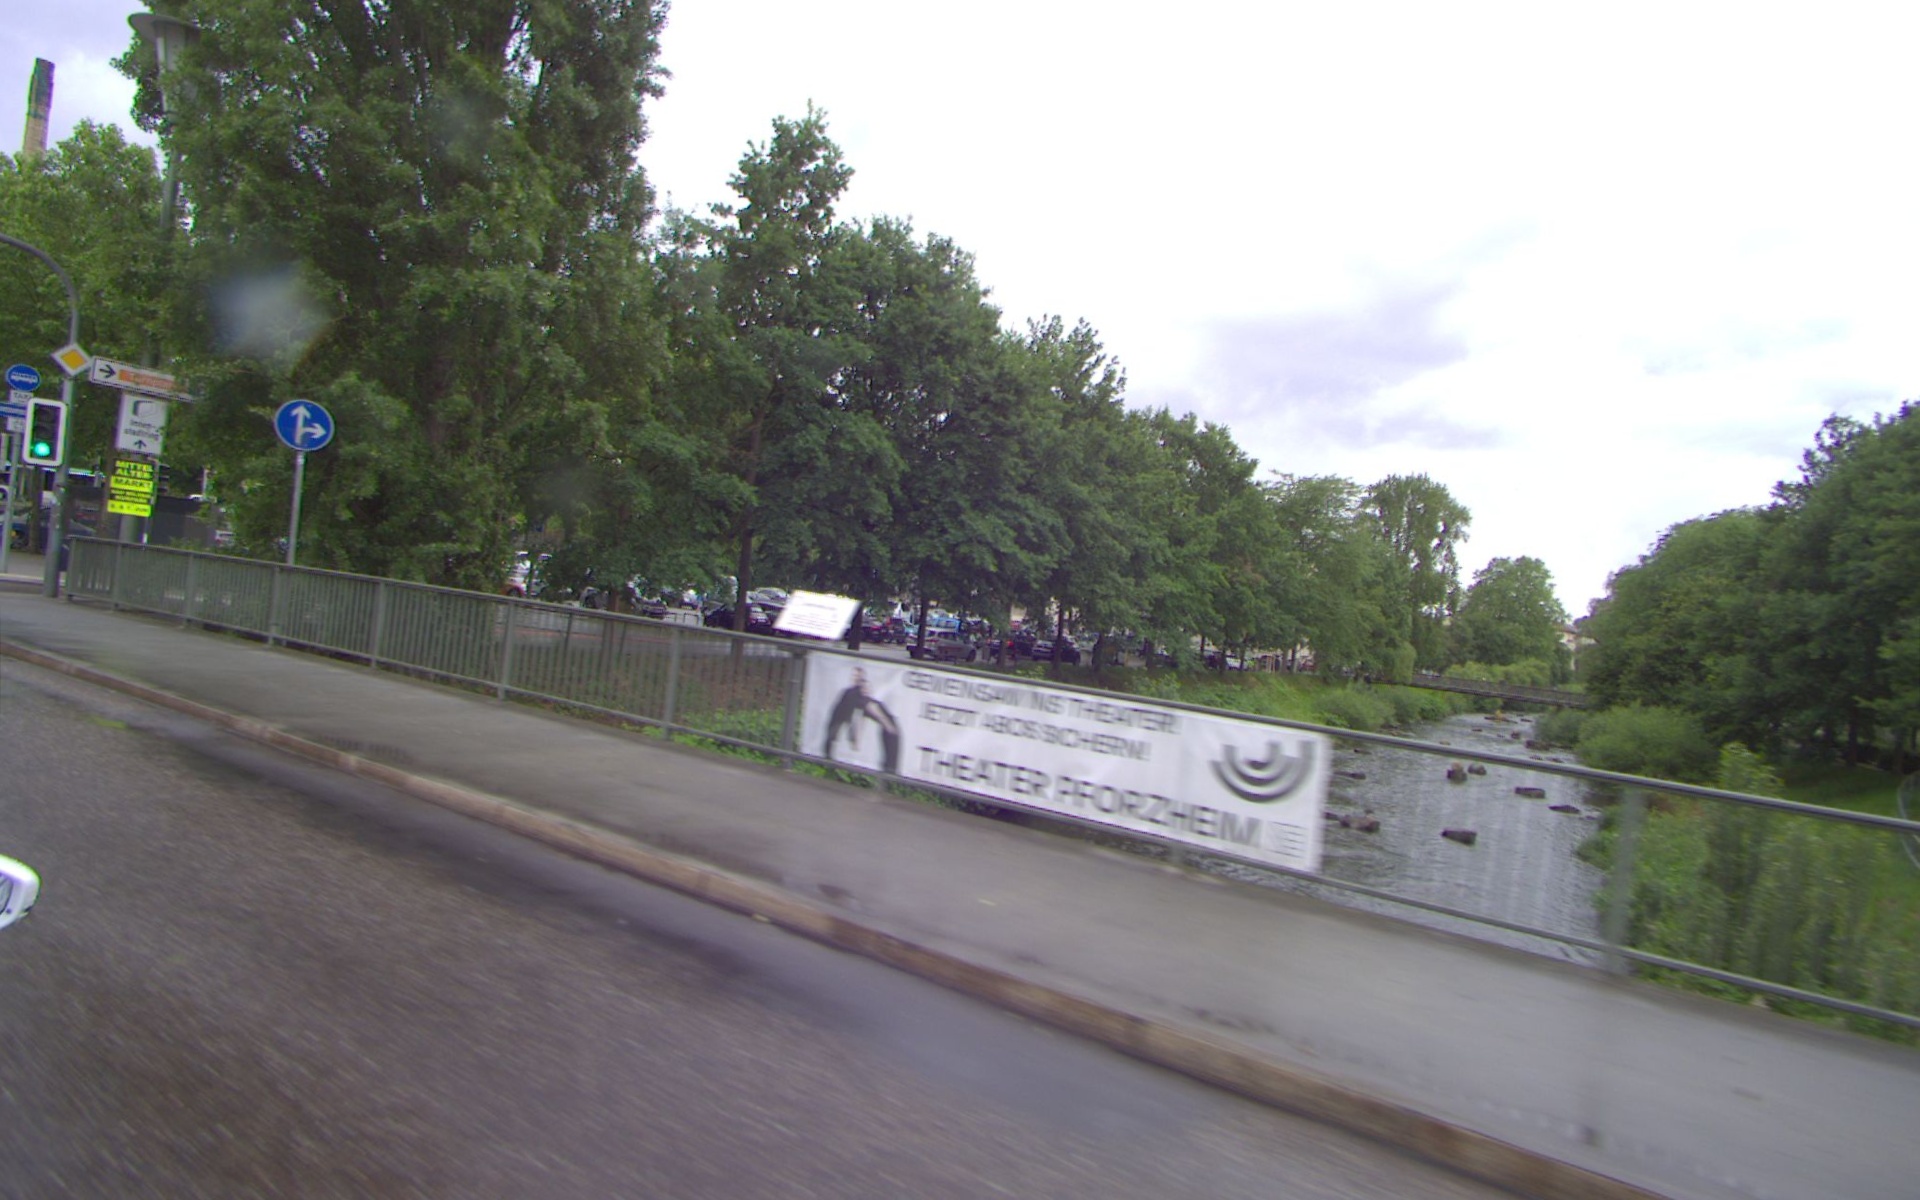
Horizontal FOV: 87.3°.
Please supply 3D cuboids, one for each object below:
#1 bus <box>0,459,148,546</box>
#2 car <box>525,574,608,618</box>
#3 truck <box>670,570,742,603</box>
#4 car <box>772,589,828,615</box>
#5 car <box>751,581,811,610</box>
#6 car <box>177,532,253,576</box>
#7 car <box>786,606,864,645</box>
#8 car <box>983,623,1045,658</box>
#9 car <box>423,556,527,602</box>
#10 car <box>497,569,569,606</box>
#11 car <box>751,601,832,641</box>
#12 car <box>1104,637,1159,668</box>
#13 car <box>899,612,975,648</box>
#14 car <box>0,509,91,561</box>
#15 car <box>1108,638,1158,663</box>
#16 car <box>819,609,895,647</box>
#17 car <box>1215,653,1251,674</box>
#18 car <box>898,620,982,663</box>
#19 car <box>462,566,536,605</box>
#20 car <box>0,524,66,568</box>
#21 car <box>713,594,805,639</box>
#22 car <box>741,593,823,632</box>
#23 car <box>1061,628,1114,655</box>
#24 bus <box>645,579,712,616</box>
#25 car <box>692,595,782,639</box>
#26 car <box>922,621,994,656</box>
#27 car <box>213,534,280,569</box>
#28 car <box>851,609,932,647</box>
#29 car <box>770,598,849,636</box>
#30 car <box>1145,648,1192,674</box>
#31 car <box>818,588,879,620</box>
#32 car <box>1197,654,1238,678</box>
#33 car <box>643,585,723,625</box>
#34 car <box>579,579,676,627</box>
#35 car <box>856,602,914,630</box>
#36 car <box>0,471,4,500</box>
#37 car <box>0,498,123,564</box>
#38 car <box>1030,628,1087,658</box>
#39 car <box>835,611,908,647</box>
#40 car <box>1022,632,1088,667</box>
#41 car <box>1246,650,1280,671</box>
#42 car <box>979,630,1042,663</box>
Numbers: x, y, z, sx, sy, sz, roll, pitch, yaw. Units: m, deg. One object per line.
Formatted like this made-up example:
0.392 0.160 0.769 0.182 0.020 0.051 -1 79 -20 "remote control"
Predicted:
-73.932 -8.143 76.991 3.049 5.271 17.941 7 -2 34 "bus"
-20.590 -0.217 52.640 3.879 1.785 1.804 7 -1 29 "car"
-23.683 -1.296 93.741 6.410 2.265 2.447 6 -1 28 "truck"
-14.232 0.204 89.527 4.513 1.674 1.885 7 -1 25 "car"
-14.082 -0.328 79.106 4.182 1.722 1.998 6 -2 30 "car"
-42.360 -2.599 57.199 3.663 2.035 1.909 4 -4 29 "car"
-7.469 1.415 55.681 3.837 1.606 1.804 7 -1 29 "car"
3.960 2.996 73.972 3.930 2.004 1.999 7 -1 27 "car"
-23.041 -0.970 47.924 1.775 1.640 4.130 7 -1 27 "car"
-24.617 -0.729 57.977 3.937 1.670 1.821 6 -2 35 "car"
-9.011 1.125 53.681 3.837 1.606 1.804 7 -1 29 "car"
11.539 3.540 67.521 1.969 1.564 3.991 6 -2 35 "car"
-1.499 1.984 66.195 4.518 1.778 1.934 6 -2 31 "car"
-39.508 -2.857 42.290 1.887 1.667 3.995 7 -3 34 "car"
16.081 4.702 93.510 3.933 1.751 1.953 7 0 32 "car"
-5.894 1.599 57.599 3.837 1.606 1.804 7 -1 29 "car"
25.228 5.883 92.832 1.883 1.564 3.991 6 -2 35 "car"
-0.906 1.992 47.509 1.861 1.564 3.991 6 -2 35 "car"
-25.464 -0.812 55.490 3.937 1.670 1.821 6 -2 35 "car"
-41.945 -2.540 43.903 1.715 1.525 3.995 7 -4 34 "car"
-10.190 0.837 51.039 4.270 1.730 1.804 7 -1 29 "car"
-10.711 0.745 60.489 4.518 1.778 1.934 6 -2 31 "car"
11.093 3.630 87.609 3.933 1.751 1.953 7 0 32 "car"
-18.925 -0.152 67.688 3.934 2.035 1.999 4 -4 30 "bus"
-10.832 0.821 48.861 3.947 1.609 1.804 7 -1 29 "car"
-0.162 2.615 68.877 4.367 1.778 1.934 6 -2 31 "car"
-45.149 -3.077 63.635 3.663 1.755 1.909 4 -4 29 "car"
-4.266 1.743 62.432 4.518 1.778 1.934 6 -2 31 "car"
-9.385 1.053 62.811 4.518 1.778 1.934 6 -2 31 "car"
15.862 4.663 76.449 1.969 1.564 3.991 6 -2 35 "car"
-9.248 0.330 83.540 4.517 2.037 1.998 6 -1 30 "car"
22.097 5.672 86.138 1.969 1.564 3.991 6 -2 35 "car"
-16.721 0.287 60.699 4.518 1.778 1.934 6 -2 31 "car"
-16.345 0.132 49.437 4.507 1.785 1.804 7 -1 29 "car"
-6.541 1.404 87.808 4.513 1.869 2.000 7 -1 25 "car"
-61.248 -6.674 62.057 4.158 3.005 2.076 6 -1 32 "car"
-35.977 -2.754 39.685 1.938 1.946 3.993 7 -2 34 "car"
7.958 3.471 81.077 3.930 1.837 1.999 7 -1 27 "car"
-5.273 1.730 59.879 3.837 1.606 1.804 7 -1 29 "car"
5.555 2.894 58.369 1.969 1.564 3.991 6 -2 35 "car"
28.997 5.807 96.153 1.883 1.564 3.991 6 -2 35 "car"
3.051 2.803 60.077 1.730 1.564 3.991 6 -2 35 "car"
